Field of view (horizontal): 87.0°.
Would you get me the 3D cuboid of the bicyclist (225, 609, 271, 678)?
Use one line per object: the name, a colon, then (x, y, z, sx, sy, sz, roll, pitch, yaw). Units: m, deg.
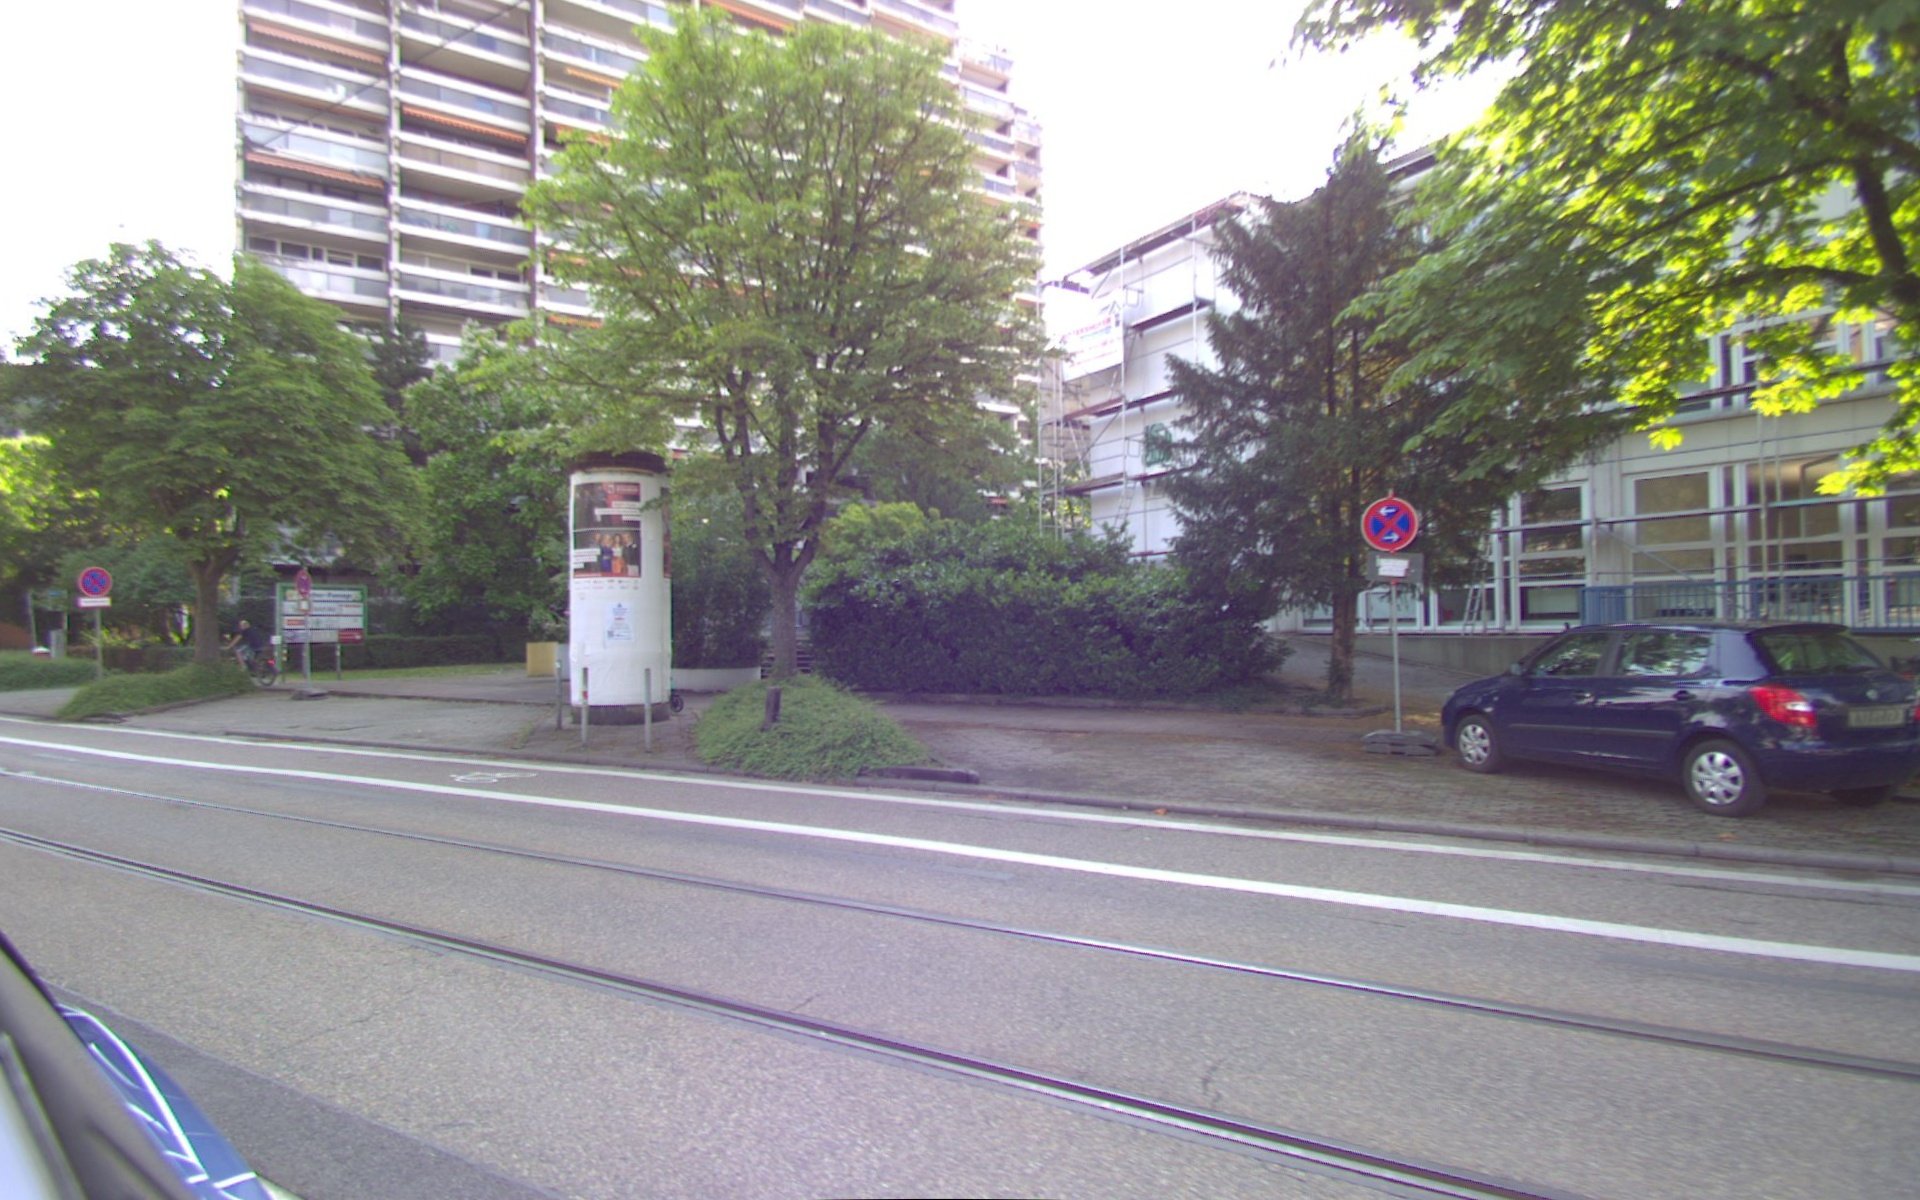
bicyclist: (-18.873, 1.140, 26.826, 0.778, 1.753, 0.718, -1, 1, 30)

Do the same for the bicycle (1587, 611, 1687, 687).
bicycle: (10.877, 0.763, 16.239, 2.021, 1.095, 0.498, -2, 1, -30)

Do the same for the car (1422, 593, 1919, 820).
car: (6.204, 0.711, 9.004, 1.731, 1.473, 4.010, -1, 1, -12)

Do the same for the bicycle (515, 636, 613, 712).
bicycle: (-6.708, 1.241, 17.221, 1.483, 1.163, 0.635, -1, 1, -17)

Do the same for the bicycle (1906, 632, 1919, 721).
bicycle: (12.943, 0.940, 13.064, 2.021, 1.095, 0.498, -2, 1, -30)

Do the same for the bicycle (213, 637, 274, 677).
bicycle: (-19.073, 1.499, 26.936, 1.976, 0.987, 0.563, -1, 1, 31)

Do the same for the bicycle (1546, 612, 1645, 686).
bicycle: (10.559, 0.791, 16.783, 2.021, 1.095, 0.498, -2, 1, -30)
